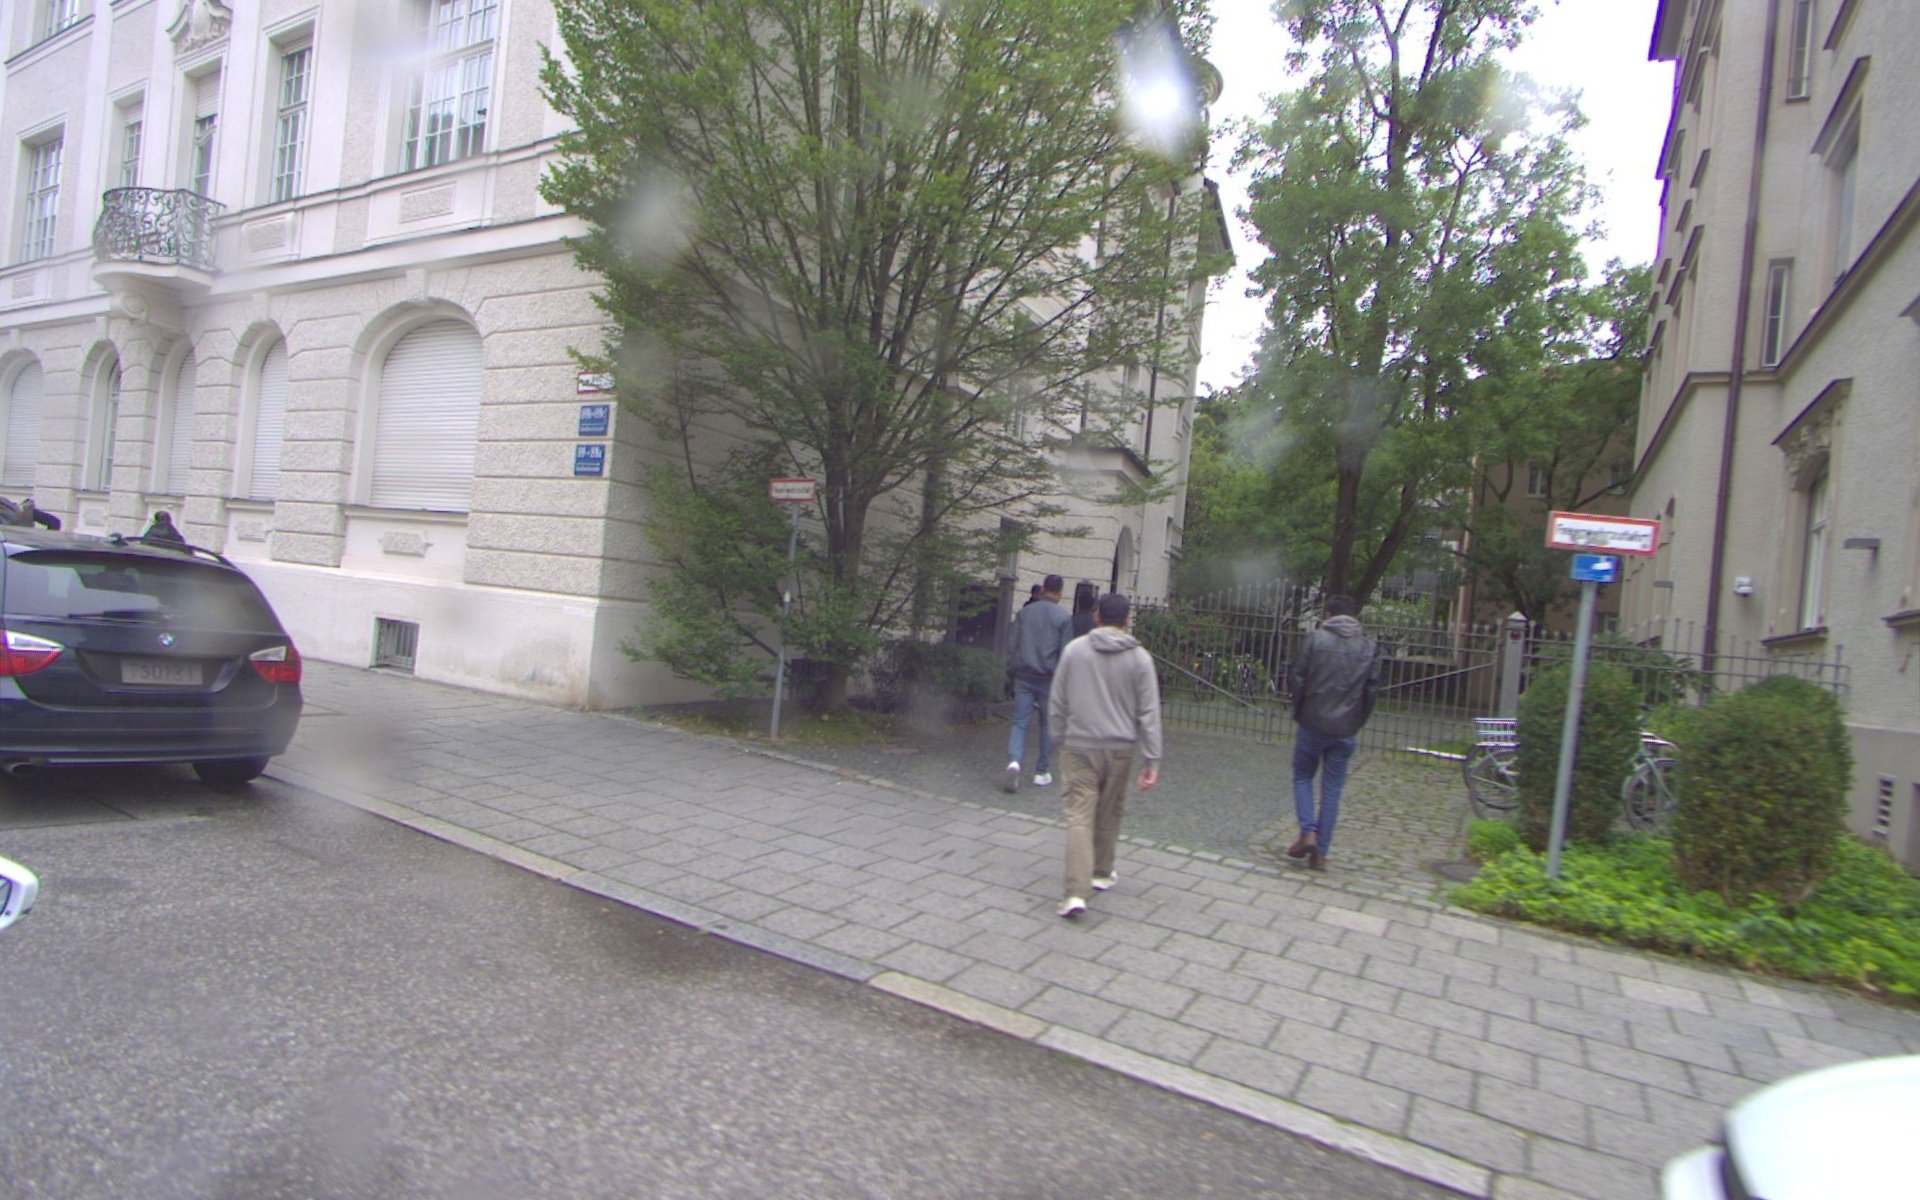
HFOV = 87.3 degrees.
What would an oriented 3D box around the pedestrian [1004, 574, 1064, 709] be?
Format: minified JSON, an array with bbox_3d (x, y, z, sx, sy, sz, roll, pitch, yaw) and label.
[{"bbox_3d":[1.031,0.581,14.190,0.564,1.816,0.554,6,0,-8],"label":"pedestrian"}]

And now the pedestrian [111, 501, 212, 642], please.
[{"bbox_3d":[-10.229,-0.355,12.888,0.798,1.701,0.683,6,2,30],"label":"pedestrian"}]

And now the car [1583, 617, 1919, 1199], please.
[{"bbox_3d":[2.935,1.038,0.751,3.994,1.525,1.667,6,-2,28],"label":"car"}]

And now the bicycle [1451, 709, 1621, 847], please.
[{"bbox_3d":[4.689,1.421,8.225,1.112,0.919,0.452,5,-1,32],"label":"bicycle"}]

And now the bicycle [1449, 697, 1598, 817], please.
[{"bbox_3d":[5.186,1.418,9.278,1.112,0.919,0.452,5,-1,32],"label":"bicycle"}]

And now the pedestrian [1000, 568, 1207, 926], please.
[{"bbox_3d":[0.735,0.719,5.370,0.850,1.680,0.853,6,2,5],"label":"pedestrian"}]

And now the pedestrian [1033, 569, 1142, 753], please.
[{"bbox_3d":[1.391,0.644,10.900,0.667,1.841,0.860,9,3,29],"label":"pedestrian"}]

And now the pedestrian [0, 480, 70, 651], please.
[{"bbox_3d":[-10.363,-0.386,10.989,0.841,1.799,0.682,6,2,31],"label":"pedestrian"}]

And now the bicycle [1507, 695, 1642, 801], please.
[{"bbox_3d":[6.366,1.515,10.451,1.112,0.919,0.452,5,-1,32],"label":"bicycle"}]

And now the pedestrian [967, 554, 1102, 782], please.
[{"bbox_3d":[0.653,0.575,8.589,0.661,1.790,0.884,6,-1,29],"label":"pedestrian"}]

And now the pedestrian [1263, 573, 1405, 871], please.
[{"bbox_3d":[2.456,0.771,6.627,0.660,1.790,0.630,6,-1,21],"label":"pedestrian"}]

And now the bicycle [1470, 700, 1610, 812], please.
[{"bbox_3d":[5.709,1.516,9.933,1.112,0.919,0.452,5,-1,32],"label":"bicycle"}]

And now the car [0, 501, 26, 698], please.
[{"bbox_3d":[-9.675,-0.234,8.257,4.100,1.542,1.752,5,-2,31],"label":"car"}]

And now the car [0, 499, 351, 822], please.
[{"bbox_3d":[-5.826,0.164,6.147,4.153,1.468,1.715,6,-2,30],"label":"car"}]
